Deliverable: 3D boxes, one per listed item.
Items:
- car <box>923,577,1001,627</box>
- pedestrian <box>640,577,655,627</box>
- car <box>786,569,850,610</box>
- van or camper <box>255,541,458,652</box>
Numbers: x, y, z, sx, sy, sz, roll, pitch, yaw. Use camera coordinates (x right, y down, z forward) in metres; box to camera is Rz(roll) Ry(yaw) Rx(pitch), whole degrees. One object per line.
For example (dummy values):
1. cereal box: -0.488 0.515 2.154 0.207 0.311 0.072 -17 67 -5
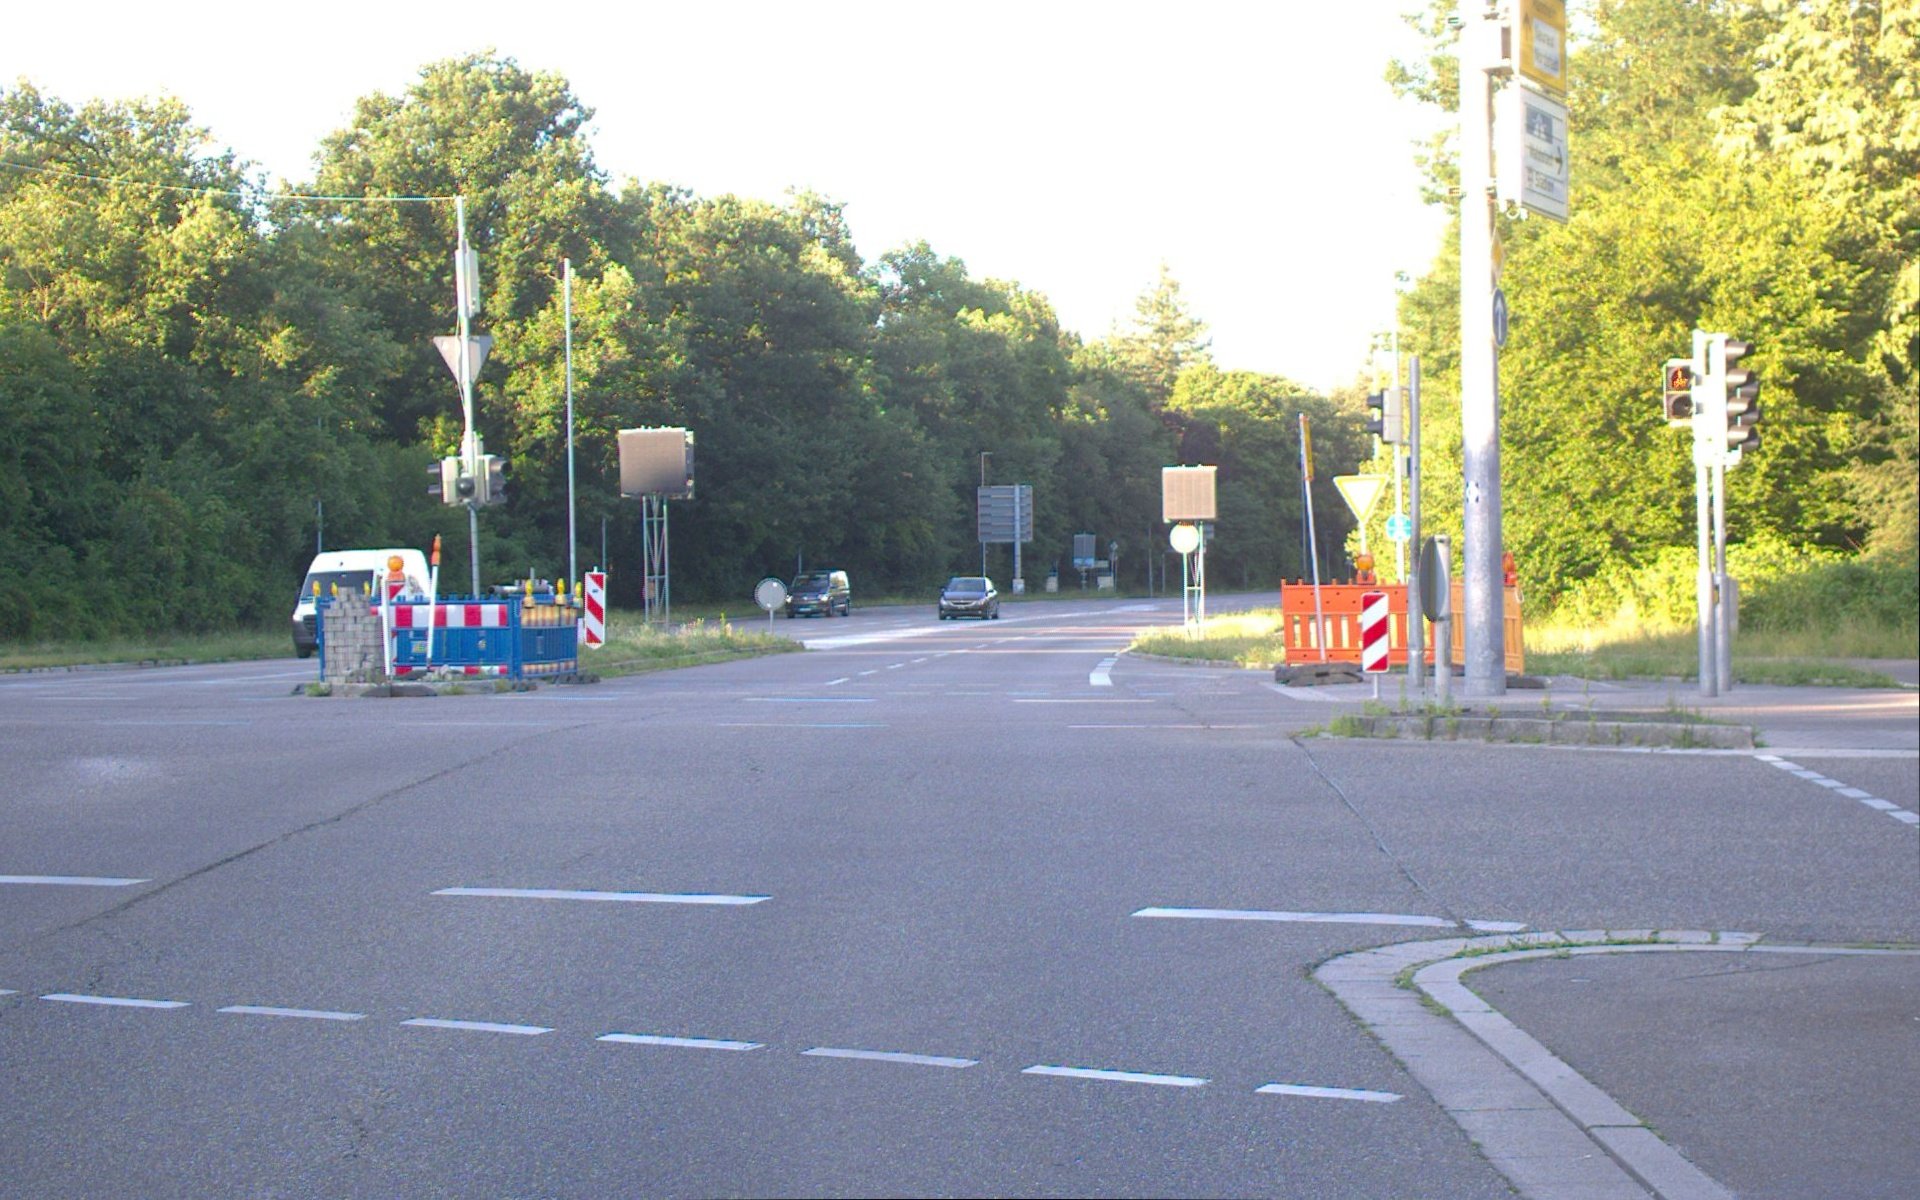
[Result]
1. car: 0.084 0.076 125.083 1.994 1.634 3.998 -2 2 12
2. pedestrian: -12.662 0.096 139.145 0.521 2.007 0.600 1 0 -1
3. car: -5.893 -0.438 143.287 1.994 1.634 3.999 0 1 7
4. van or camper: -15.000 -0.135 86.010 2.886 2.643 7.120 0 1 8
